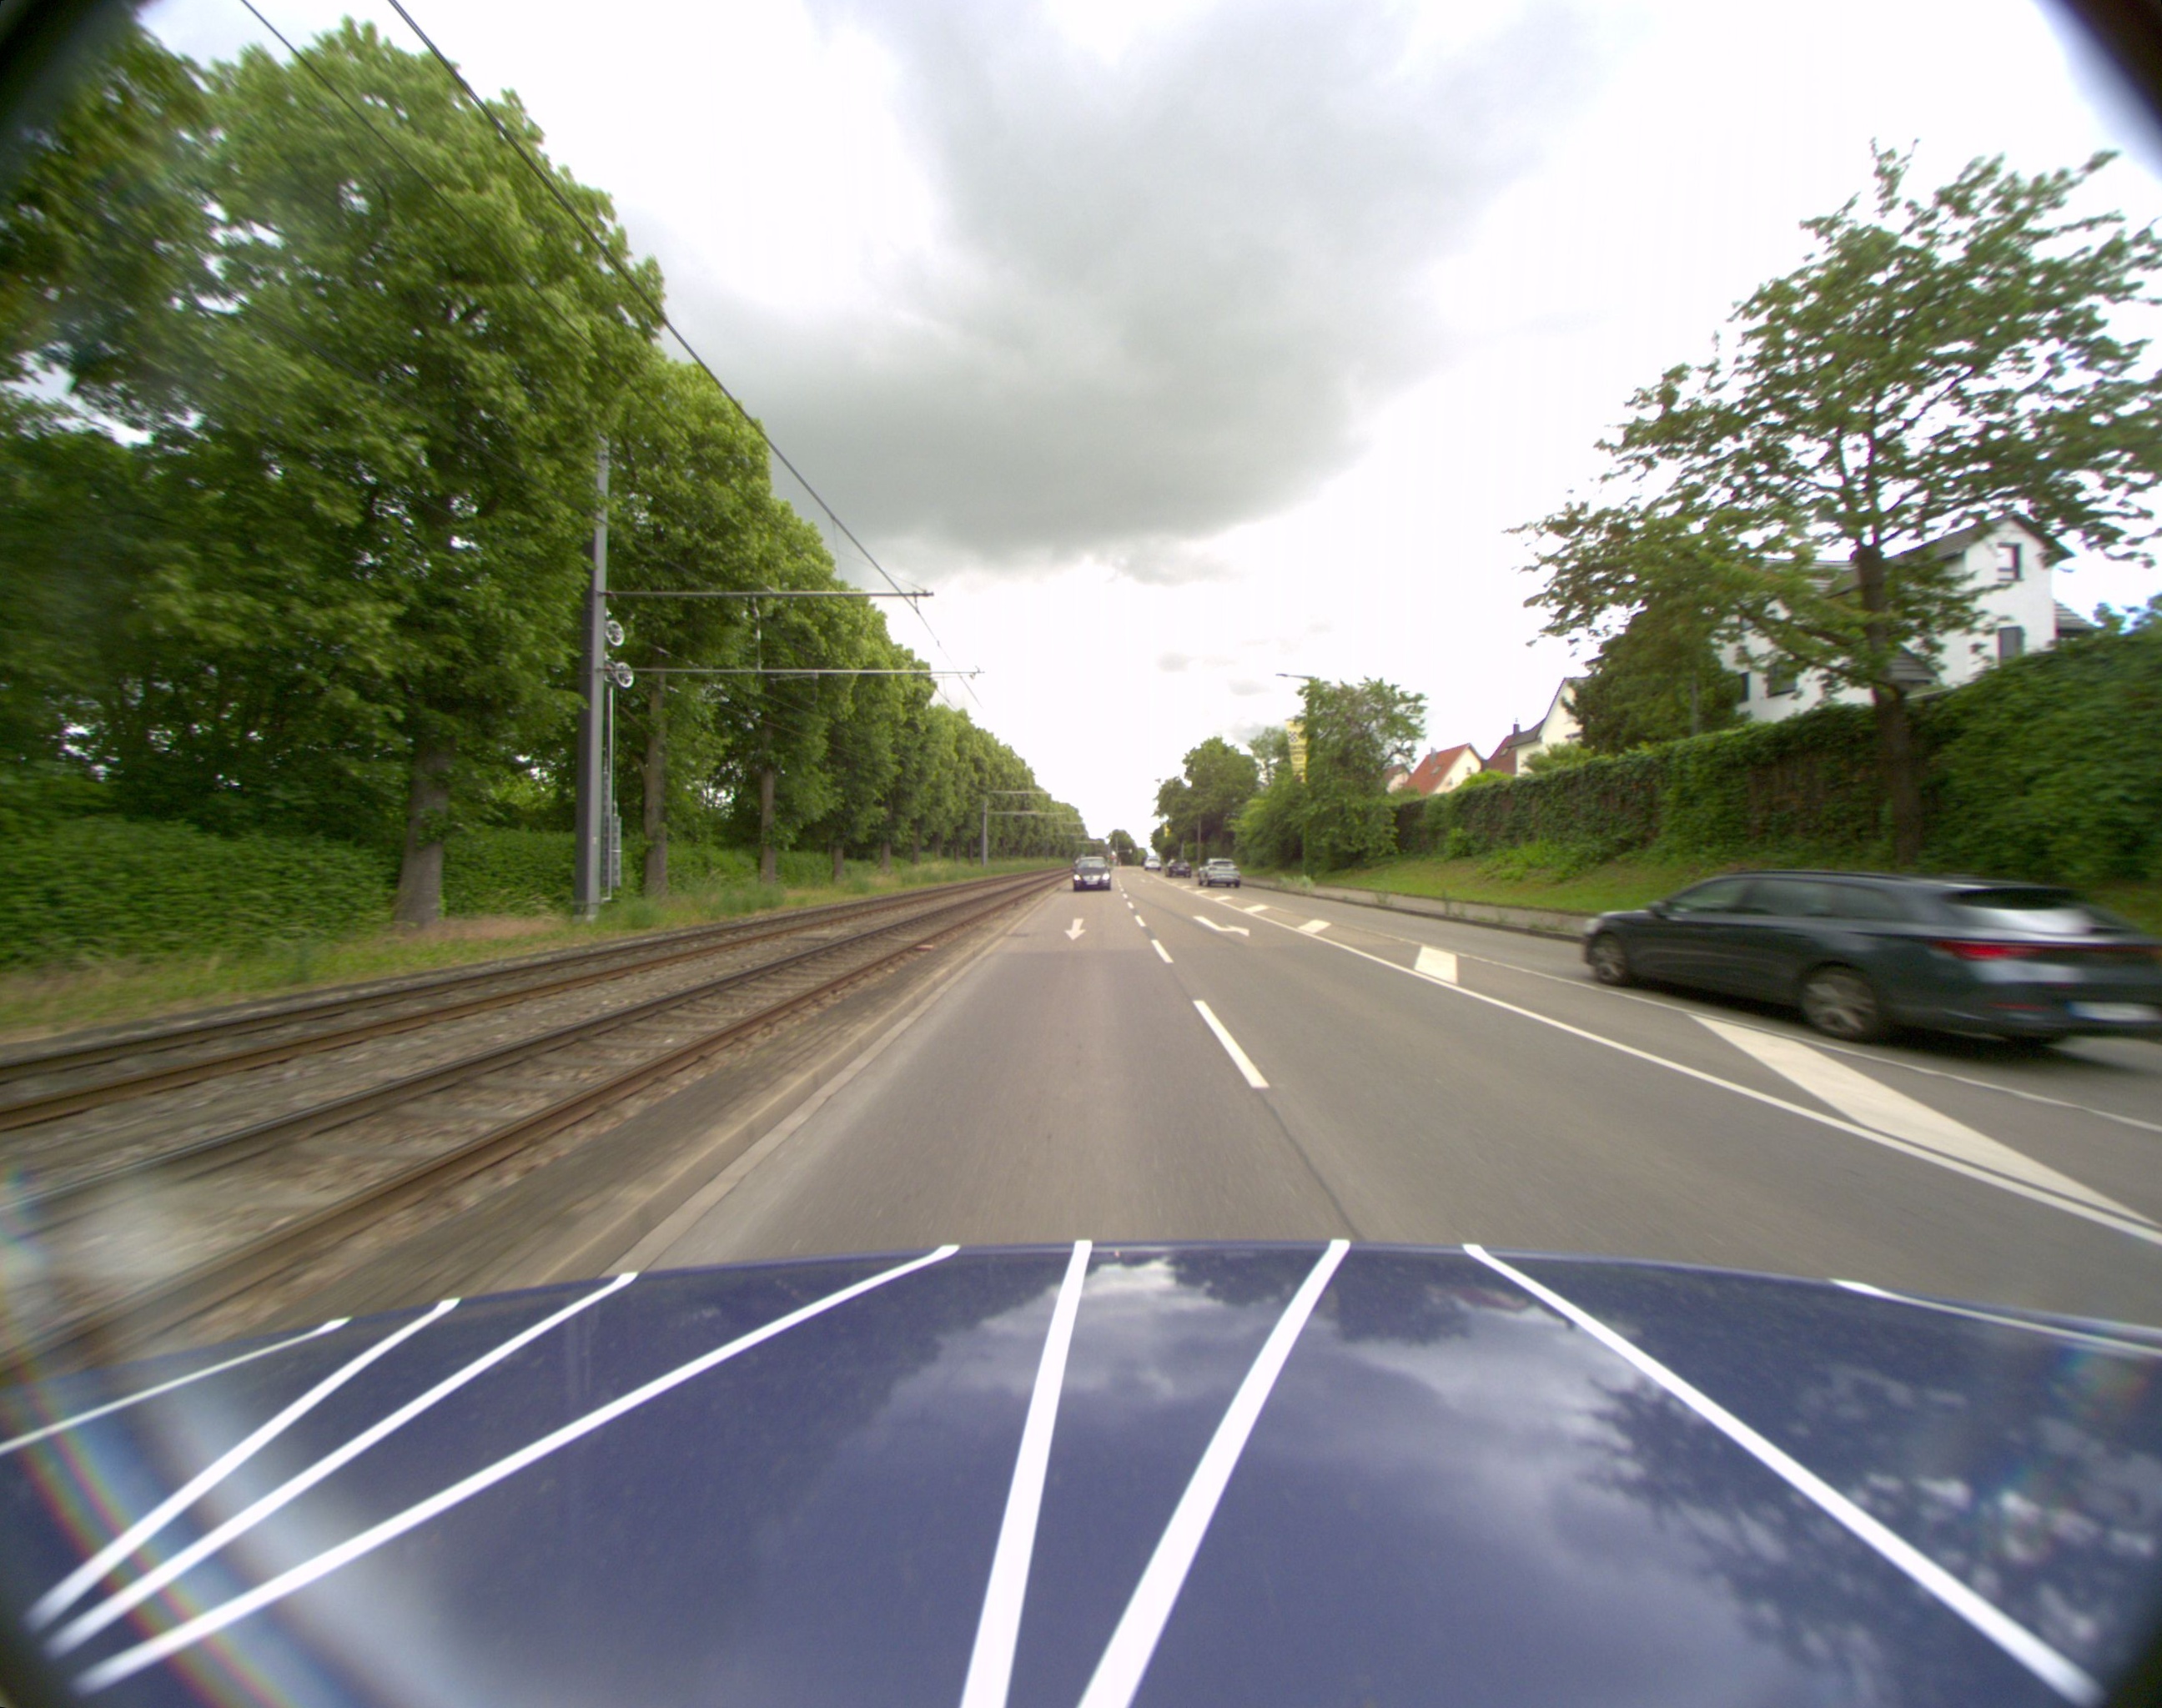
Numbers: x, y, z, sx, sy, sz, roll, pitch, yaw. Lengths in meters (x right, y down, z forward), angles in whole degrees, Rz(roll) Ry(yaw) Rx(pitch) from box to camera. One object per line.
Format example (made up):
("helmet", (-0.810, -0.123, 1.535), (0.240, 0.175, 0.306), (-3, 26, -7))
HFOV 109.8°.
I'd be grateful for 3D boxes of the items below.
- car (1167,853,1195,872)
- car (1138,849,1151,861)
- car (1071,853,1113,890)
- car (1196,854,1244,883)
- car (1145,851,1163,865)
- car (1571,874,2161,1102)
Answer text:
("car", (8.097, 0.686, 61.758), (1.770, 1.392, 4.215), (2, 0, 0))
("car", (11.048, 0.172, 132.605), (1.998, 2.024, 5.116), (0, 0, 1))
("car", (0.548, 0.761, 35.521), (1.749, 1.558, 4.121), (-3, 0, 2))
("car", (7.493, 0.743, 41.272), (1.831, 1.448, 4.142), (2, 0, 0))
("car", (8.897, 0.498, 92.329), (1.846, 1.611, 4.159), (1, 0, 1))
("car", (7.117, 0.956, 7.253), (1.846, 1.368, 4.446), (1, 0, -2))
